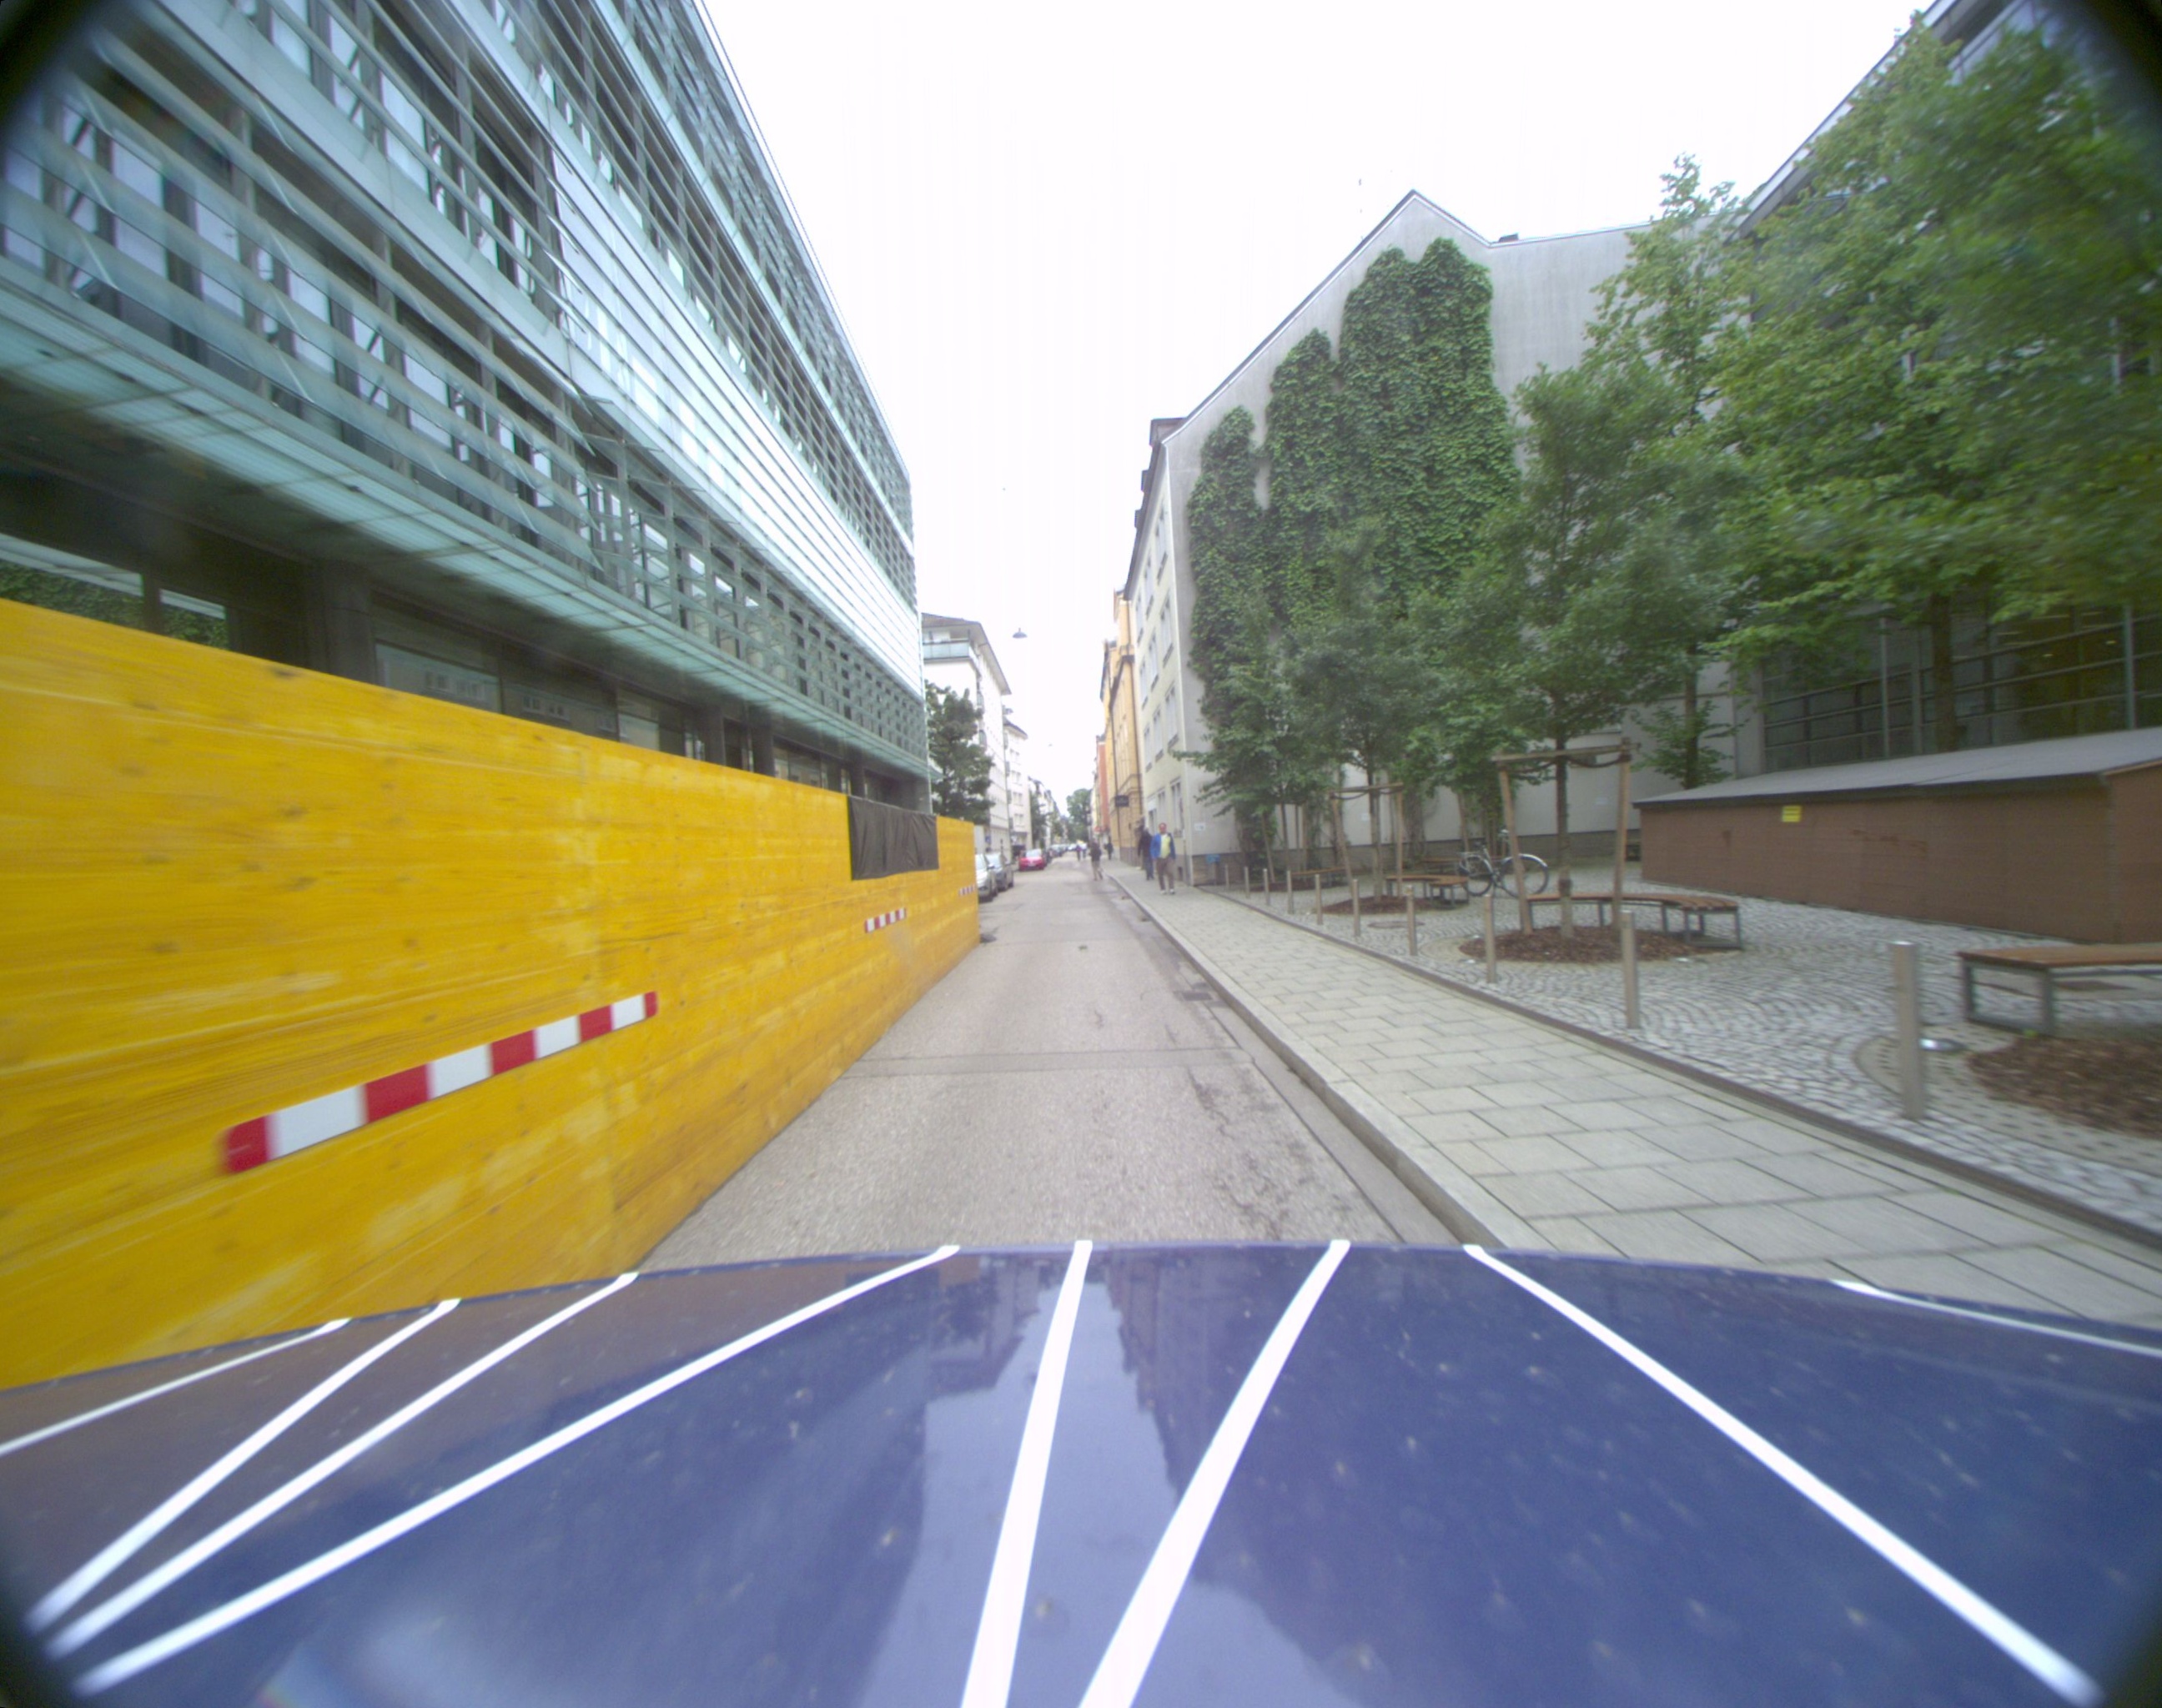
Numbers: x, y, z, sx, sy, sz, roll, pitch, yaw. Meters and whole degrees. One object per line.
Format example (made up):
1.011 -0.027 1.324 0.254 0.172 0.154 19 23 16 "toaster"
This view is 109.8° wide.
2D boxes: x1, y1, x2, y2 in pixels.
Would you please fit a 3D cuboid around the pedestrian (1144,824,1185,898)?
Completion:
2.177 0.165 19.990 0.861 1.834 0.974 -5 1 2 "pedestrian"

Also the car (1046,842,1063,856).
-3.271 -0.627 94.418 1.793 1.550 3.999 -4 1 0 "car"

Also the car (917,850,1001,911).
-3.662 0.733 23.593 1.999 1.479 4.276 -5 1 -3 "car"

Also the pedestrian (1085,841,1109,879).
0.689 0.259 32.906 0.711 1.543 0.775 -5 1 -13 "pedestrian"

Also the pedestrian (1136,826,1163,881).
2.453 -0.037 27.356 0.744 1.892 0.879 -5 1 0 "pedestrian"

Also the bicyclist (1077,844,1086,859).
0.065 -0.248 71.946 0.700 1.400 0.768 -4 2 -1 "bicyclist"

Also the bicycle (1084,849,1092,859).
0.679 0.000 74.688 0.700 0.926 1.693 -4 1 -1 "bicycle"

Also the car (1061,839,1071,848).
-3.116 -2.186 160.942 1.999 1.844 4.390 -4 1 0 "car"

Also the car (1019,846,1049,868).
-3.376 0.181 54.861 1.809 1.390 3.999 -4 1 0 "car"

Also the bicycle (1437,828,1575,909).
7.027 0.223 12.699 0.714 1.202 1.995 -6 2 -18 "bicycle"

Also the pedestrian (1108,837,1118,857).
2.662 -0.587 64.222 0.700 1.696 0.768 -4 2 0 "pedestrian"

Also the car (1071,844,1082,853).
-0.945 -1.034 151.624 1.999 1.583 4.374 -4 1 0 "car"

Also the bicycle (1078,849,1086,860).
0.083 0.068 72.094 0.700 0.977 1.948 -4 1 -1 "bicycle"

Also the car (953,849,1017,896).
-3.540 0.631 28.778 1.877 1.477 4.277 -4 1 -2 "car"

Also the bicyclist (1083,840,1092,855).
0.647 -0.654 74.751 0.718 1.400 0.965 -4 1 -1 "bicyclist"

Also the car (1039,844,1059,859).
-2.965 -0.223 71.846 1.625 1.259 4.328 -4 1 0 "car"

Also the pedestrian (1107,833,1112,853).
2.444 -0.938 64.916 0.386 1.666 0.448 -3 2 -2 "pedestrian"
